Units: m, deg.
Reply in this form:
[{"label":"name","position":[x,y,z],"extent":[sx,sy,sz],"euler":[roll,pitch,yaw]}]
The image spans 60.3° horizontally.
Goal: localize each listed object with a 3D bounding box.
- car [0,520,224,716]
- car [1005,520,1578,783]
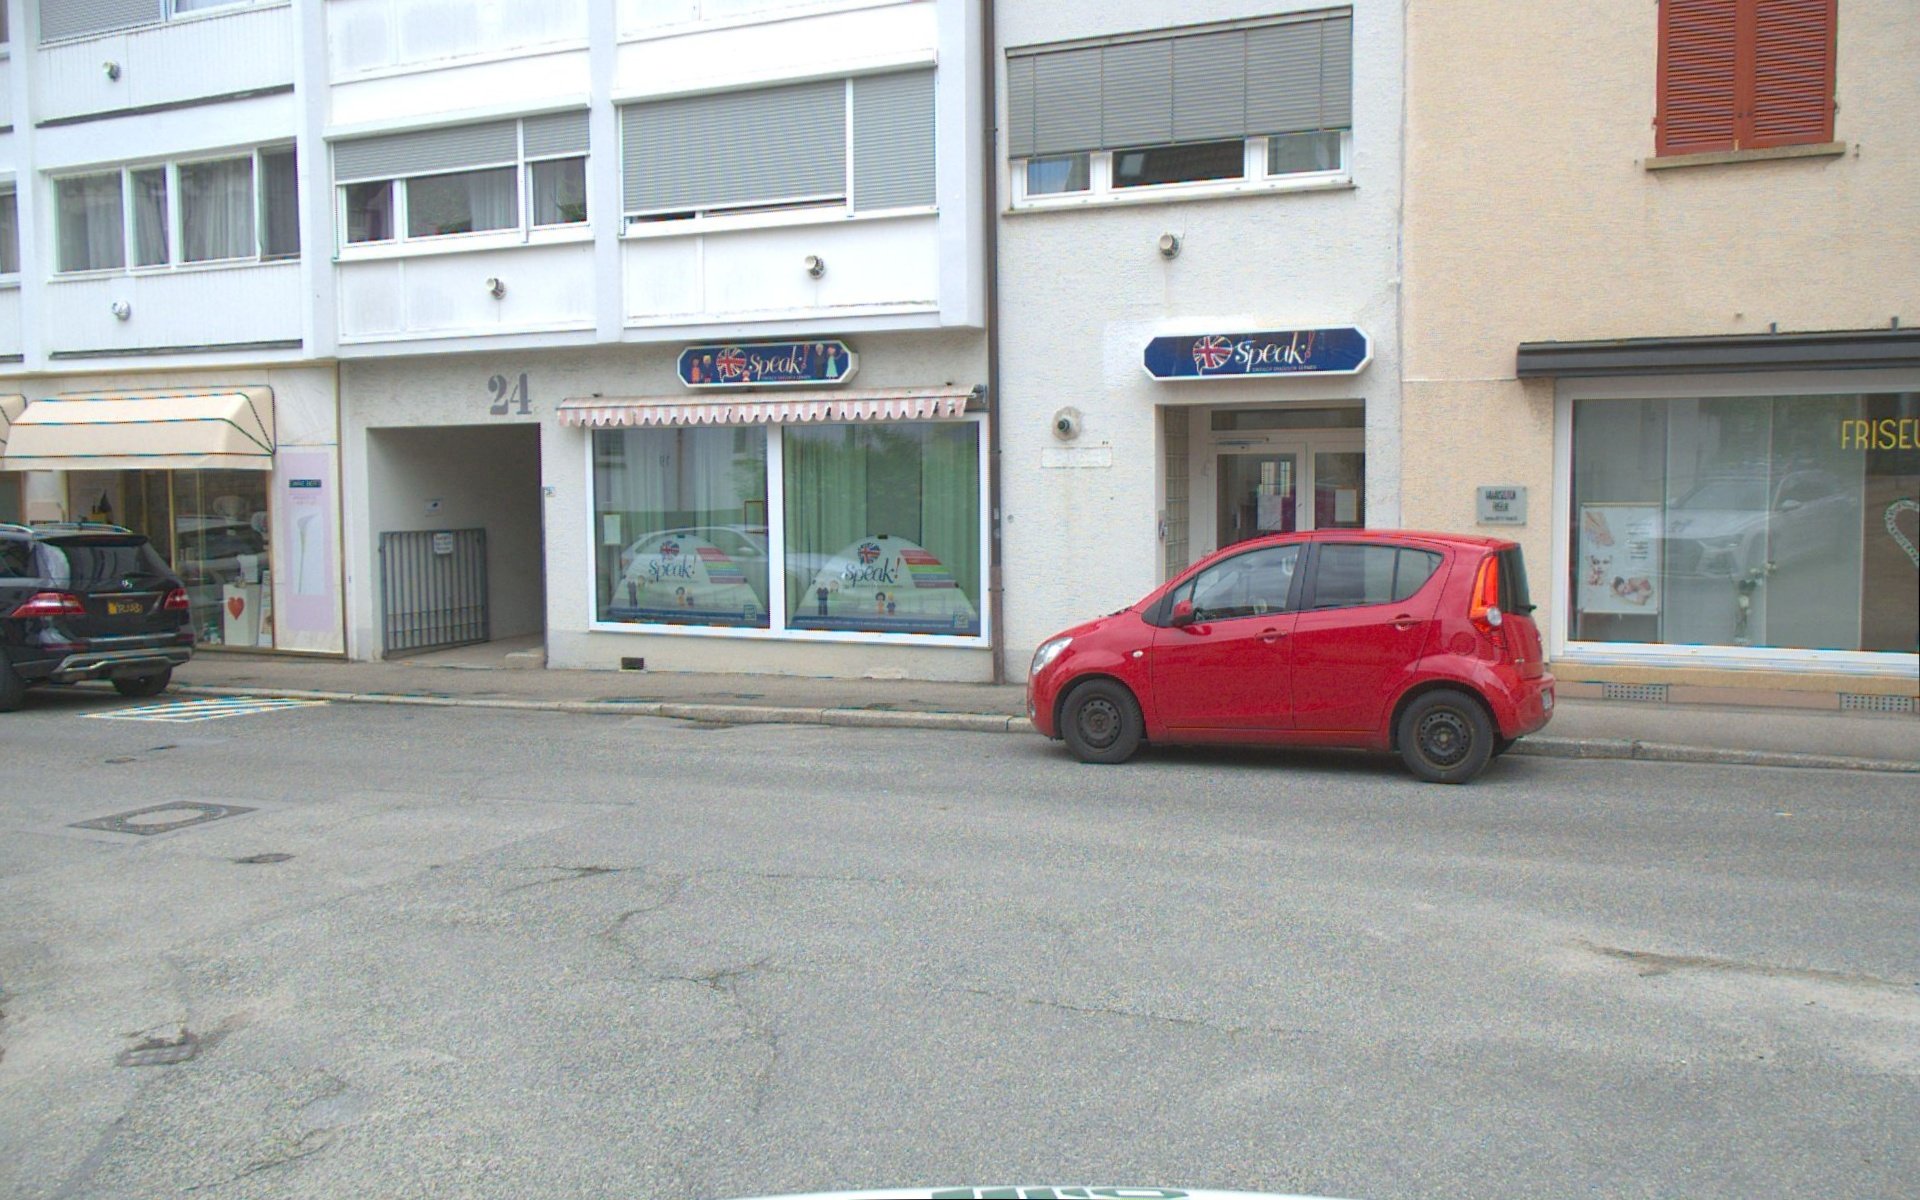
[{"label":"car","position":[-9.946,0.147,17.093],"extent":[4.268,1.810,1.946],"euler":[0,1,25]},{"label":"car","position":[2.303,0.289,11.520],"extent":[3.611,1.583,1.696],"euler":[0,1,27]}]
